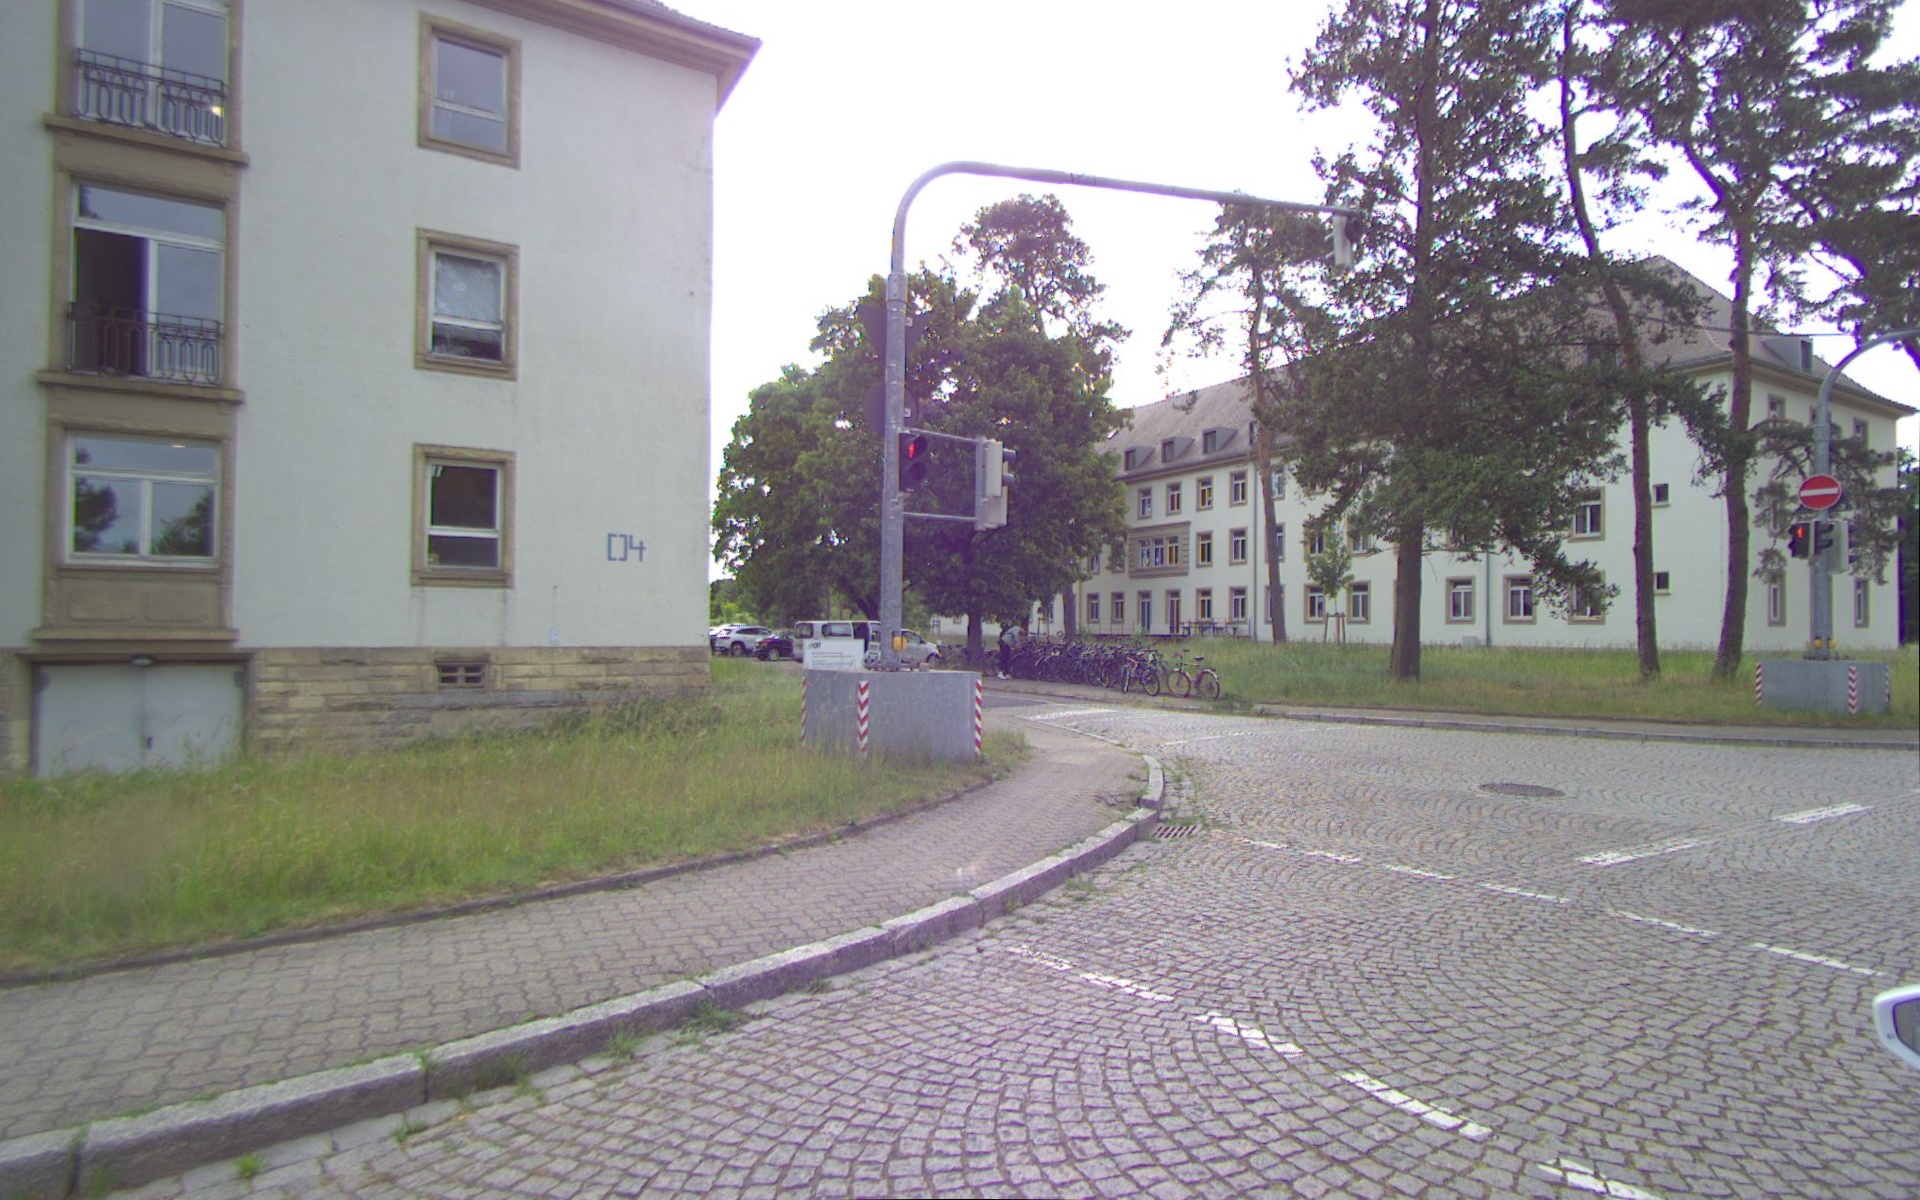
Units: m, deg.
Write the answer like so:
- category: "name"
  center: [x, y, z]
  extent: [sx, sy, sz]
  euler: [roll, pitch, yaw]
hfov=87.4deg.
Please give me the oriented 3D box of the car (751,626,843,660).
- category: "car"
  center: [-7.929, 2.100, 48.865]
  extent: [4.050, 1.547, 1.790]
  euler: [2, -1, -34]

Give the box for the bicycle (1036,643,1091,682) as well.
- category: "bicycle"
  center: [2.956, 1.775, 28.757]
  extent: [1.566, 1.093, 0.512]
  euler: [2, -2, -30]

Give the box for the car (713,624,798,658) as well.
- category: "car"
  center: [-10.891, 2.190, 53.503]
  extent: [4.051, 1.716, 1.790]
  euler: [2, -1, -34]

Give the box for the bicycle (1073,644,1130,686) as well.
- category: "bicycle"
  center: [3.849, 1.753, 27.308]
  extent: [1.566, 1.093, 0.512]
  euler: [2, -2, -30]

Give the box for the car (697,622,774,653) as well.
- category: "car"
  center: [-13.223, 2.227, 59.262]
  extent: [4.051, 1.716, 1.790]
  euler: [2, -1, -34]

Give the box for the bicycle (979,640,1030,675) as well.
- category: "bicycle"
  center: [1.407, 1.805, 31.565]
  extent: [1.566, 1.093, 0.512]
  euler: [2, -2, -30]

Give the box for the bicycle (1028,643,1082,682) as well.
- category: "bicycle"
  center: [2.762, 1.802, 29.088]
  extent: [1.566, 1.093, 0.512]
  euler: [2, -2, -30]

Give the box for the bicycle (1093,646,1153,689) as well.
- category: "bicycle"
  center: [4.284, 1.758, 26.330]
  extent: [1.565, 1.093, 0.513]
  euler: [2, -2, -27]

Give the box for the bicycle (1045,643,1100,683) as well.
- category: "bicycle"
  center: [3.181, 1.775, 28.366]
  extent: [1.566, 1.093, 0.512]
  euler: [2, -2, -30]

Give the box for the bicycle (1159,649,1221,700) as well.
- category: "bicycle"
  center: [5.139, 1.647, 22.510]
  extent: [0.510, 1.079, 1.457]
  euler: [2, -2, -31]

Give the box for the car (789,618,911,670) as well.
- category: "car"
  center: [-4.454, 1.767, 41.199]
  extent: [4.876, 1.978, 1.840]
  euler: [2, -1, -43]

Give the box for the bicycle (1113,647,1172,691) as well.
- category: "bicycle"
  center: [4.688, 1.766, 25.783]
  extent: [1.568, 1.093, 0.511]
  euler: [2, -2, -33]

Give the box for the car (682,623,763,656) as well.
- category: "car"
  center: [-13.172, 2.203, 55.774]
  extent: [4.051, 1.716, 1.790]
  euler: [2, -1, -34]

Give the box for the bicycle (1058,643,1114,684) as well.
- category: "bicycle"
  center: [3.502, 1.758, 27.834]
  extent: [1.566, 1.093, 0.512]
  euler: [2, -2, -30]

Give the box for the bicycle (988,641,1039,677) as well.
- category: "bicycle"
  center: [1.659, 1.809, 31.133]
  extent: [1.566, 1.093, 0.512]
  euler: [2, -2, -30]

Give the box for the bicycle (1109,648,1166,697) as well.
- category: "bicycle"
  center: [4.201, 1.706, 23.852]
  extent: [0.510, 1.093, 1.457]
  euler: [2, -2, -31]

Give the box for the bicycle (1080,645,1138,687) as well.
- category: "bicycle"
  center: [4.021, 1.756, 26.990]
  extent: [1.566, 1.093, 0.512]
  euler: [2, -2, -30]

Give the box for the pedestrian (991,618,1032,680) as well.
- category: "pedestrian"
  center: [1.530, 1.451, 29.983]
  extent: [1.135, 1.812, 1.064]
  euler: [-1, -1, -1]

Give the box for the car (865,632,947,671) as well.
- category: "car"
  center: [-2.085, 1.967, 38.618]
  extent: [2.755, 1.446, 1.509]
  euler: [2, -1, -30]

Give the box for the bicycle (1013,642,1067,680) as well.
- category: "bicycle"
  center: [2.374, 1.813, 29.783]
  extent: [1.566, 1.093, 0.512]
  euler: [2, -2, -30]
